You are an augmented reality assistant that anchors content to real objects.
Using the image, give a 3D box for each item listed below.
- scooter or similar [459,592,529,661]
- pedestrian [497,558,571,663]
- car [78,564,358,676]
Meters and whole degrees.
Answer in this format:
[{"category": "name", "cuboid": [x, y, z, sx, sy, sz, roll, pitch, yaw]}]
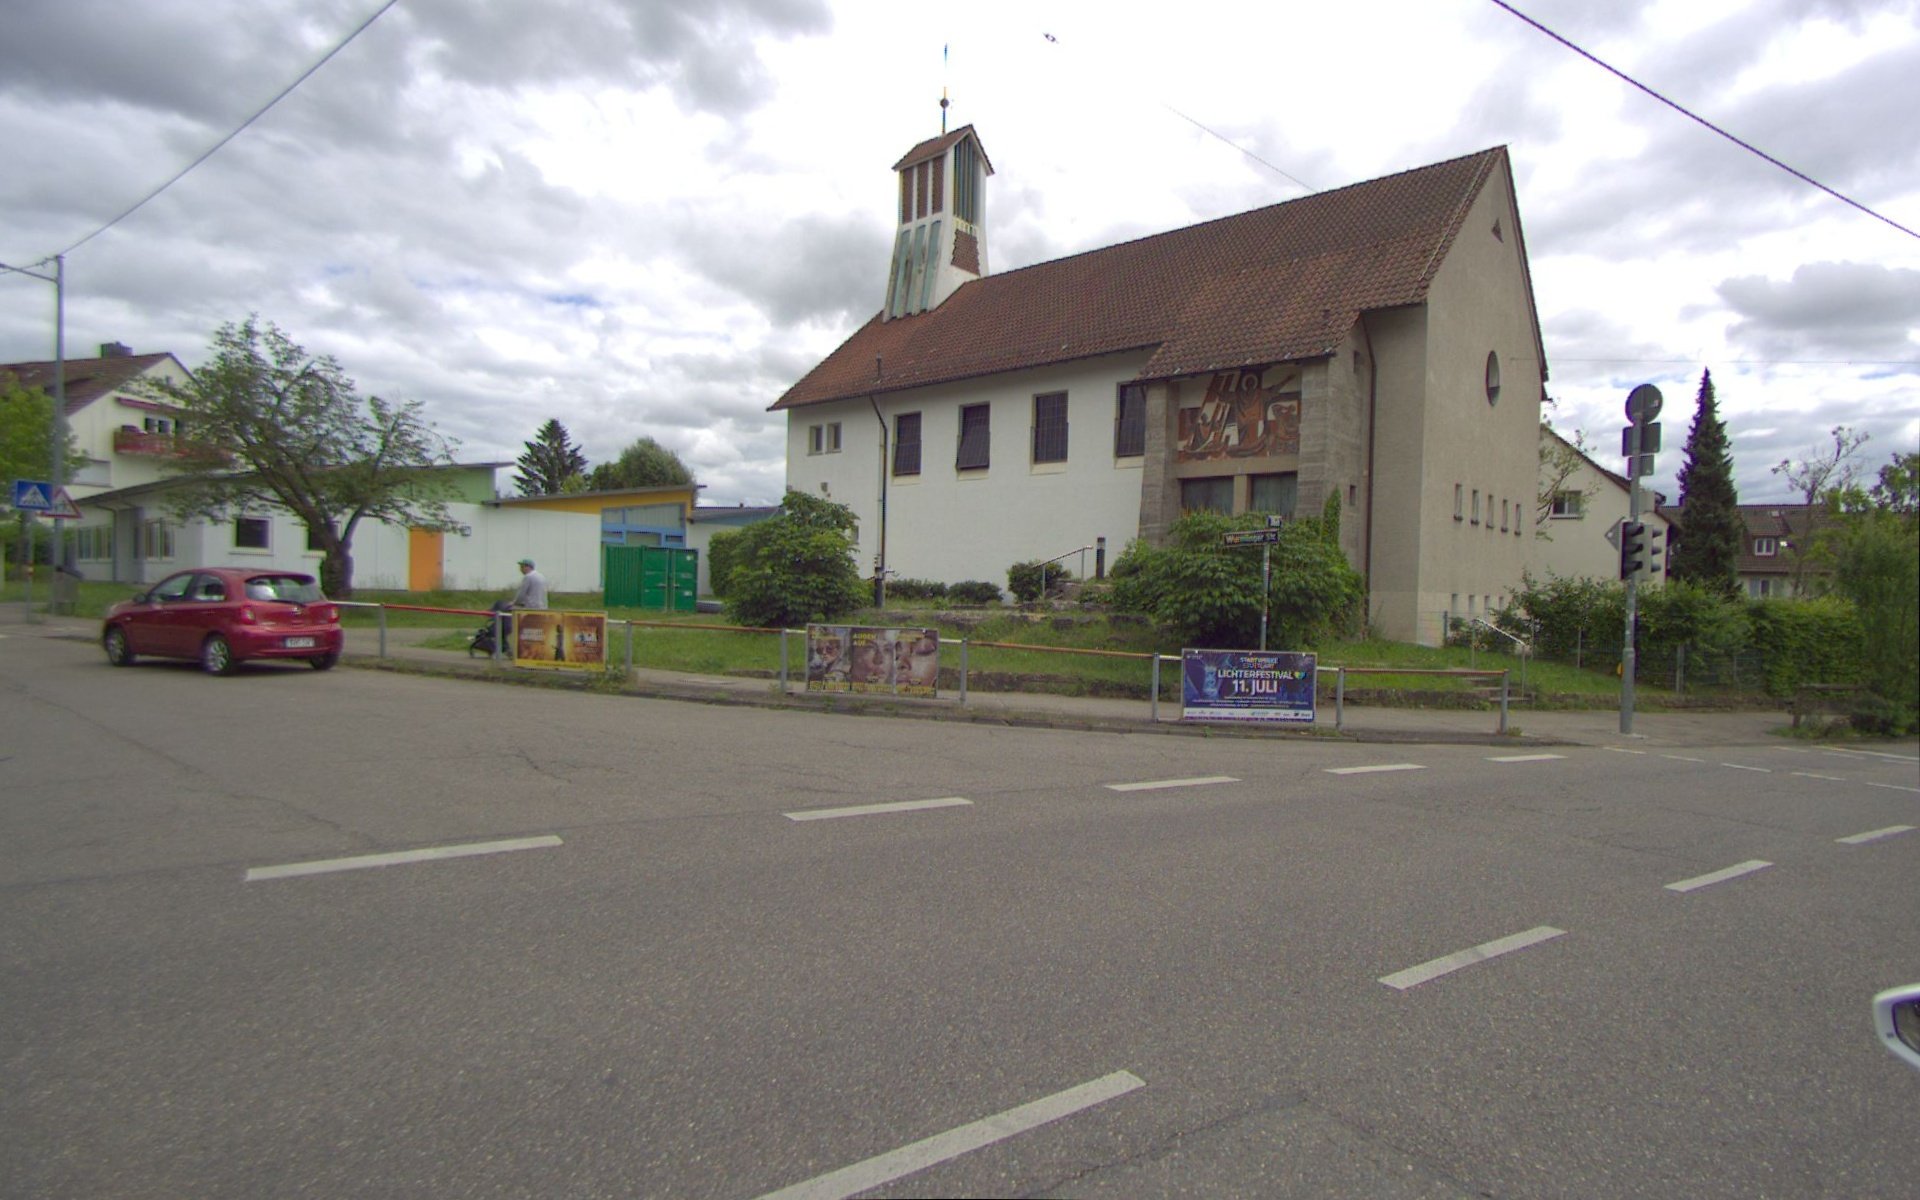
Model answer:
[{"category": "scooter or similar", "cuboid": [-7.996, 0.443, 17.237, 0.872, 1.109, 0.612, 4, 1, 22]}, {"category": "pedestrian", "cuboid": [-7.167, 0.169, 16.902, 0.815, 1.675, 0.689, 4, 1, 22]}, {"category": "car", "cuboid": [-11.284, 0.253, 15.311, 3.612, 1.509, 1.774, 2, 1, 21]}]
